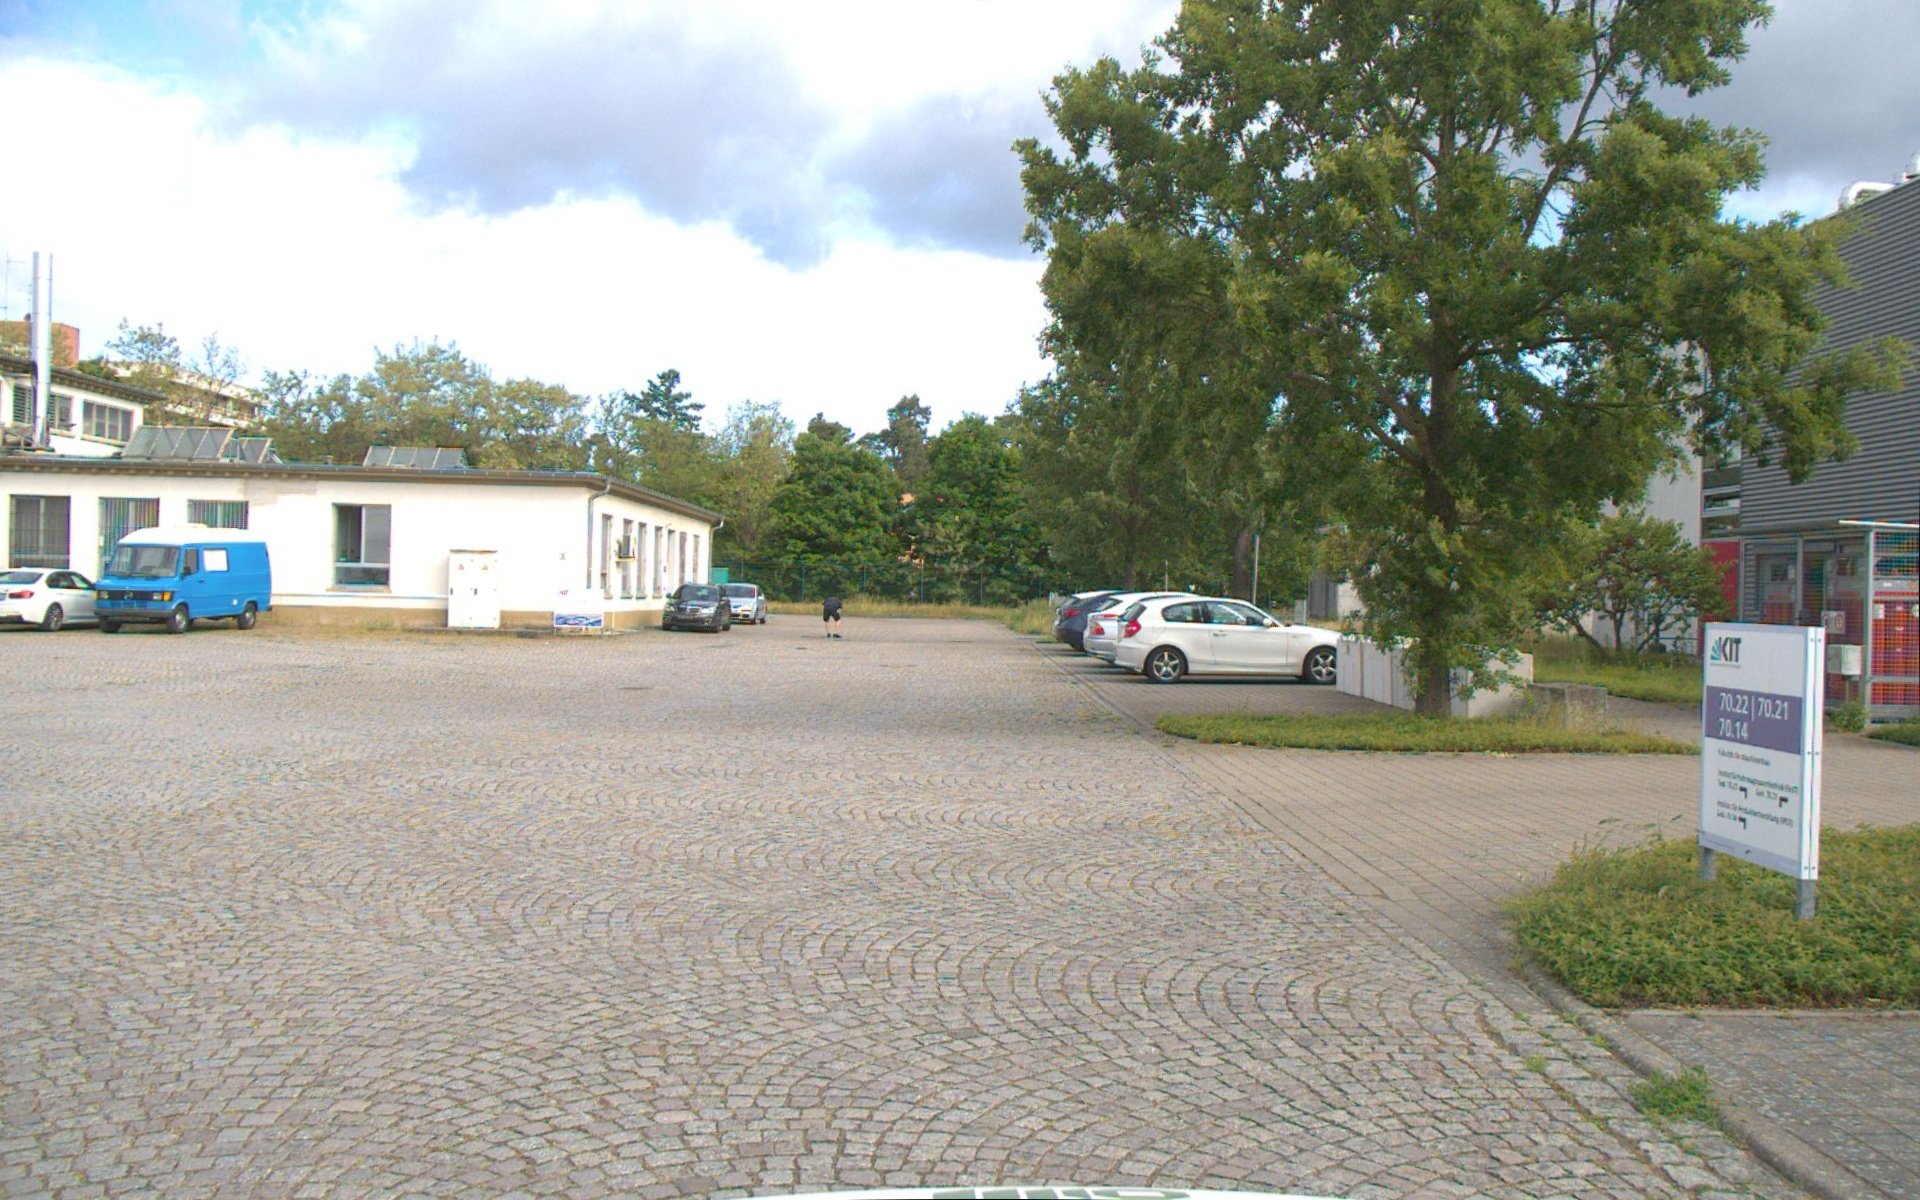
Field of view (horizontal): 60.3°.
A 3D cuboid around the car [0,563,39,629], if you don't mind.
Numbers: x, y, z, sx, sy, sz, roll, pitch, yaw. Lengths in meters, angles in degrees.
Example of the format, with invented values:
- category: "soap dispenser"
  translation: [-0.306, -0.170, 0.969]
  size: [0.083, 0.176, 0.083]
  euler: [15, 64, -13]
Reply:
- category: "car"
  translation: [-24.187, -0.118, 39.699]
  size: [1.861, 1.602, 4.000]
  euler: [1, 0, 1]

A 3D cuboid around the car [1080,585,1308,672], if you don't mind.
- category: "car"
  translation: [4.212, 0.501, 30.200]
  size: [3.905, 1.481, 1.697]
  euler: [1, 0, -1]

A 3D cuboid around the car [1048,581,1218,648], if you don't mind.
- category: "car"
  translation: [4.288, 0.343, 41.360]
  size: [3.909, 1.560, 1.998]
  euler: [1, 0, -5]

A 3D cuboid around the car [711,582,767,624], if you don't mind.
- category: "car"
  translation: [-8.231, 0.106, 61.922]
  size: [1.714, 1.480, 3.998]
  euler: [1, 0, -3]

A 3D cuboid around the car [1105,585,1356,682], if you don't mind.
- category: "car"
  translation: [4.525, 0.555, 28.118]
  size: [3.905, 1.481, 2.000]
  euler: [2, 0, -1]

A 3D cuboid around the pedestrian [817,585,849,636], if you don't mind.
- category: "pedestrian"
  translation: [-4.015, 0.321, 52.183]
  size: [0.921, 1.595, 0.971]
  euler: [1, 0, -1]

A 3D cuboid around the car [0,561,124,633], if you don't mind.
- category: "car"
  translation: [-21.565, -0.088, 38.758]
  size: [1.861, 1.602, 4.000]
  euler: [1, 0, 1]

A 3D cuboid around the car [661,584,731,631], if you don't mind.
- category: "car"
  translation: [-8.239, 0.211, 51.820]
  size: [1.714, 1.387, 3.998]
  euler: [1, 0, -3]

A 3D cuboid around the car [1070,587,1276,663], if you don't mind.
- category: "car"
  translation: [4.234, 0.489, 33.240]
  size: [3.905, 1.481, 1.770]
  euler: [0, 0, -1]

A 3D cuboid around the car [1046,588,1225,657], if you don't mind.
- category: "car"
  translation: [4.002, 0.511, 38.141]
  size: [3.905, 1.481, 1.770]
  euler: [1, 0, -1]

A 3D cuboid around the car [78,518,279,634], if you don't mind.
- category: "car"
  translation: [-18.765, -0.549, 40.075]
  size: [1.952, 2.567, 5.620]
  euler: [1, 0, 3]
